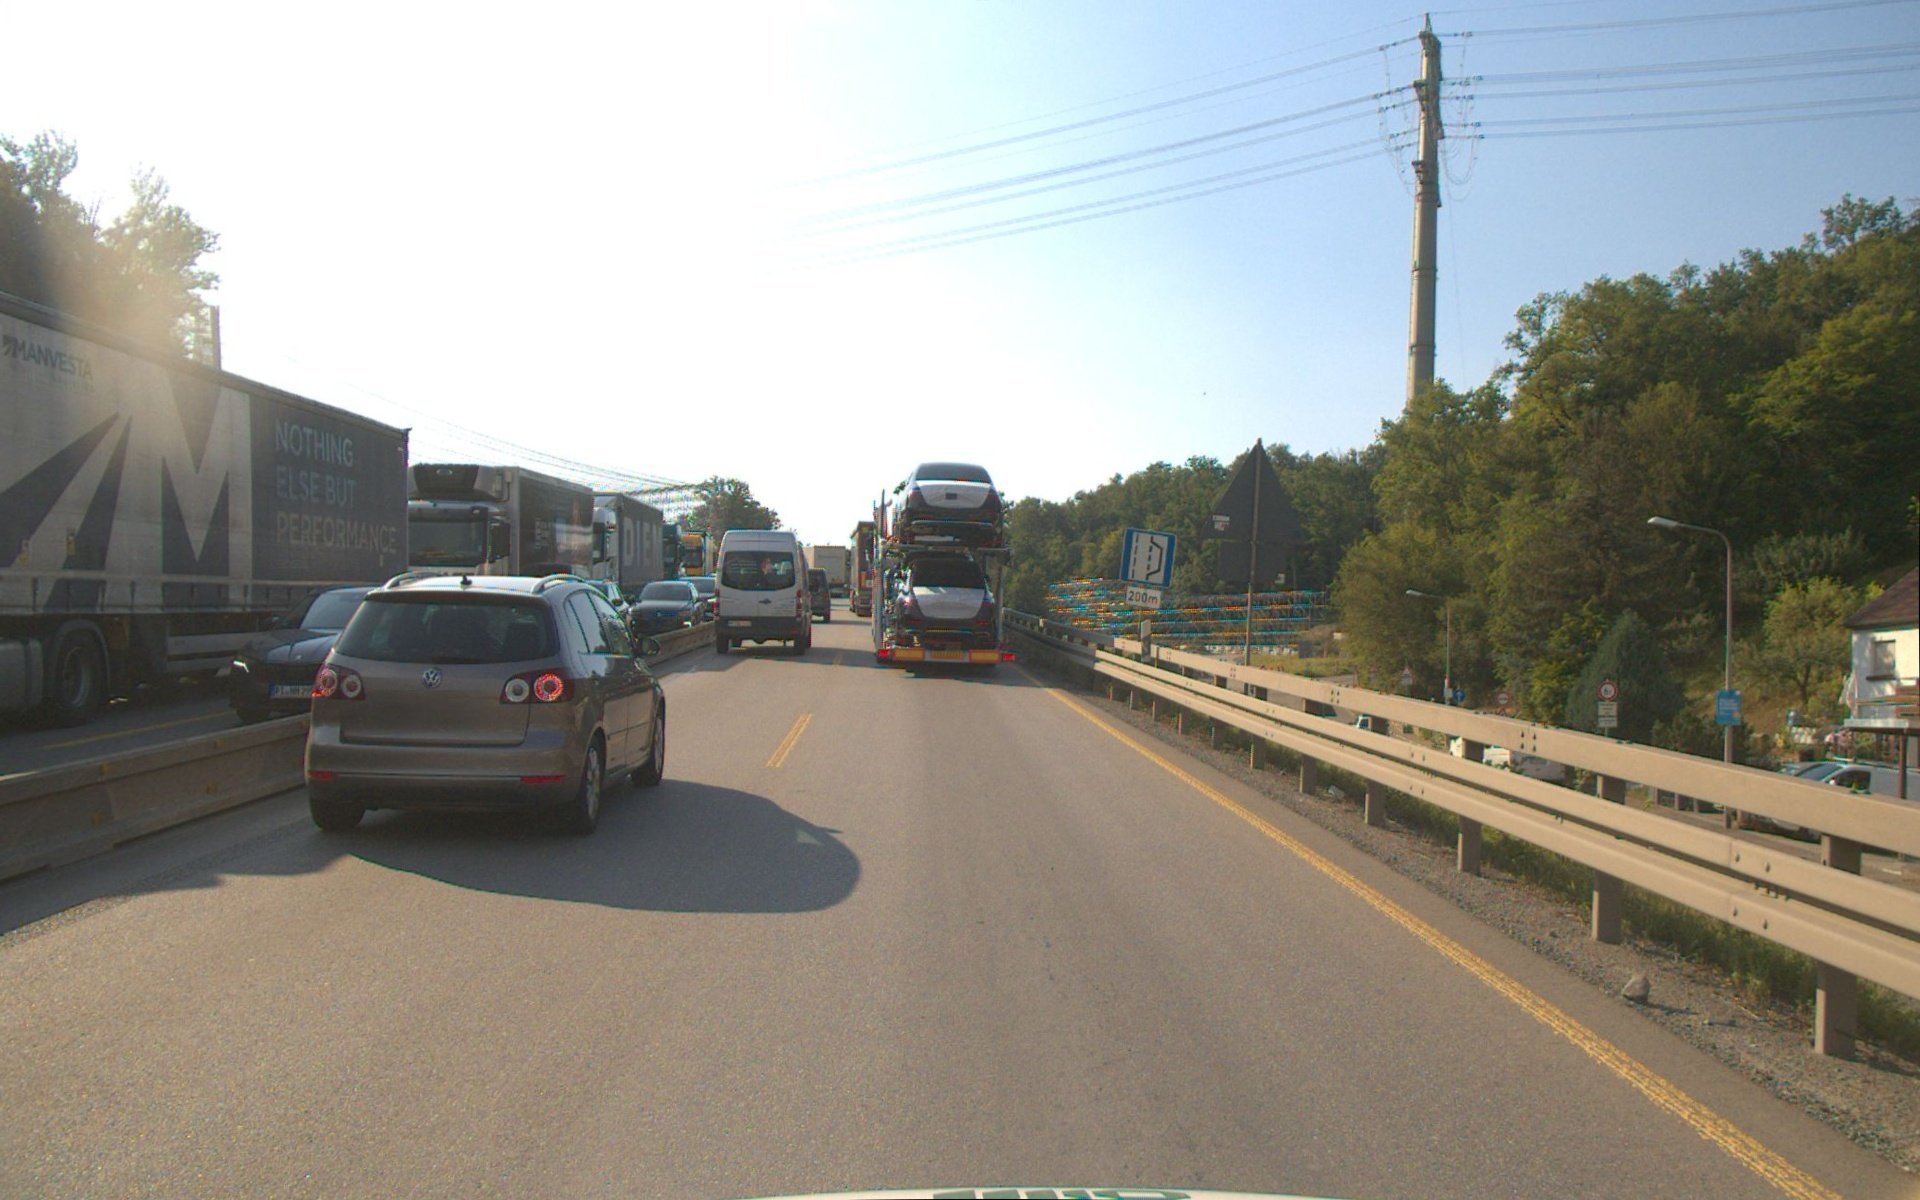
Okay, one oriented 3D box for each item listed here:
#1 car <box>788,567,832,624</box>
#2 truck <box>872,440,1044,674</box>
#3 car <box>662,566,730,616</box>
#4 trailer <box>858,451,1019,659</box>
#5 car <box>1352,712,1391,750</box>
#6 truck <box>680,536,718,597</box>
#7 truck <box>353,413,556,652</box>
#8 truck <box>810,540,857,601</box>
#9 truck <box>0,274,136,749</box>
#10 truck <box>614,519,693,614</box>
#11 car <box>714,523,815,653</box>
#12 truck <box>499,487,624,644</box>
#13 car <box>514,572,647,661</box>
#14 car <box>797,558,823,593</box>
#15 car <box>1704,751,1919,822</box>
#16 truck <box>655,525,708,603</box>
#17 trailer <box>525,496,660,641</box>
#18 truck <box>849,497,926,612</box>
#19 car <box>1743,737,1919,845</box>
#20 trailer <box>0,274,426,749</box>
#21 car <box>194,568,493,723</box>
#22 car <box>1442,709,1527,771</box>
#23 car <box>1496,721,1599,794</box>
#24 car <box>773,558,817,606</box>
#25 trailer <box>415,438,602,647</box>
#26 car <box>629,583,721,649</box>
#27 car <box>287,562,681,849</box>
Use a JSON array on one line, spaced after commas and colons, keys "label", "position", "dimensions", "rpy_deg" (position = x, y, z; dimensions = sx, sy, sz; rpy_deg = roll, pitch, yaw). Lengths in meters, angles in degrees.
[{"label": "car", "position": [-5.734, -0.145, 63.333], "dimensions": [1.498, 2.049, 3.997], "rpy_deg": [3, -1, -4]}, {"label": "truck", "position": [-0.183, -0.740, 31.650], "dimensions": [2.814, 4.049, 5.765], "rpy_deg": [0, 0, -5]}, {"label": "car", "position": [-9.041, -0.302, 57.031], "dimensions": [1.840, 1.633, 5.364], "rpy_deg": [-1, 0, -4]}, {"label": "trailer", "position": [-0.884, -0.862, 40.042], "dimensions": [2.818, 4.064, 15.263], "rpy_deg": [0, 0, -5]}, {"label": "car", "position": [19.885, 6.309, 80.054], "dimensions": [1.493, 1.486, 4.271], "rpy_deg": [0, 0, 10]}, {"label": "truck", "position": [-18.614, -2.350, 118.098], "dimensions": [2.643, 4.270, 4.389], "rpy_deg": [0, 0, -9]}, {"label": "truck", "position": [-10.431, -1.313, 34.641], "dimensions": [2.862, 4.593, 5.024], "rpy_deg": [1, 0, -3]}, {"label": "truck", "position": [-10.336, -2.480, 136.379], "dimensions": [3.576, 4.758, 11.689], "rpy_deg": [1, 1, -3]}, {"label": "truck", "position": [-9.991, -0.801, 14.409], "dimensions": [2.709, 4.277, 6.112], "rpy_deg": [0, 0, -2]}, {"label": "truck", "position": [-13.117, -1.405, 71.334], "dimensions": [2.696, 3.872, 7.103], "rpy_deg": [-1, 0, -6]}, {"label": "car", "position": [-4.322, -0.246, 37.043], "dimensions": [1.940, 2.731, 4.144], "rpy_deg": [0, 0, -3]}, {"label": "truck", "position": [-11.157, -0.942, 46.717], "dimensions": [2.696, 4.187, 5.025], "rpy_deg": [-1, 0, -6]}, {"label": "car", "position": [-7.418, 0.339, 32.715], "dimensions": [1.731, 1.578, 4.476], "rpy_deg": [2, -1, -3]}, {"label": "car", "position": [-9.297, -1.484, 102.773], "dimensions": [1.498, 2.049, 3.996], "rpy_deg": [3, -1, -5]}, {"label": "car", "position": [22.625, 4.921, 43.879], "dimensions": [4.984, 1.584, 1.716], "rpy_deg": [1, -1, 3]}, {"label": "truck", "position": [-15.553, -1.967, 92.640], "dimensions": [2.650, 4.213, 5.785], "rpy_deg": [0, 0, -7]}, {"label": "trailer", "position": [-11.844, -0.976, 54.490], "dimensions": [2.662, 4.194, 12.480], "rpy_deg": [-1, 0, -5]}, {"label": "truck", "position": [-3.407, -2.053, 75.528], "dimensions": [3.164, 4.758, 11.688], "rpy_deg": [1, 1, -4]}, {"label": "car", "position": [22.105, 4.625, 40.013], "dimensions": [5.352, 2.303, 2.000], "rpy_deg": [2, -1, 3]}, {"label": "trailer", "position": [-10.231, -0.784, 21.275], "dimensions": [2.720, 4.277, 13.827], "rpy_deg": [0, 0, -2]}, {"label": "car", "position": [-6.783, 0.487, 18.797], "dimensions": [1.739, 1.482, 4.812], "rpy_deg": [2, -1, -3]}, {"label": "car", "position": [19.424, 5.152, 61.445], "dimensions": [1.823, 2.021, 5.053], "rpy_deg": [0, -2, 4]}, {"label": "car", "position": [18.322, 4.880, 51.810], "dimensions": [1.953, 1.951, 4.866], "rpy_deg": [0, -2, 6]}, {"label": "car", "position": [-7.198, -0.734, 72.366], "dimensions": [1.797, 1.998, 4.894], "rpy_deg": [1, -1, -5]}, {"label": "trailer", "position": [-10.744, -1.275, 40.132], "dimensions": [2.853, 4.543, 7.147], "rpy_deg": [1, 0, -3]}, {"label": "car", "position": [-7.765, 0.454, 45.444], "dimensions": [1.825, 1.614, 4.743], "rpy_deg": [4, -1, -3]}, {"label": "car", "position": [-3.038, 0.604, 11.427], "dimensions": [1.667, 1.615, 4.145], "rpy_deg": [0, 0, -2]}]
